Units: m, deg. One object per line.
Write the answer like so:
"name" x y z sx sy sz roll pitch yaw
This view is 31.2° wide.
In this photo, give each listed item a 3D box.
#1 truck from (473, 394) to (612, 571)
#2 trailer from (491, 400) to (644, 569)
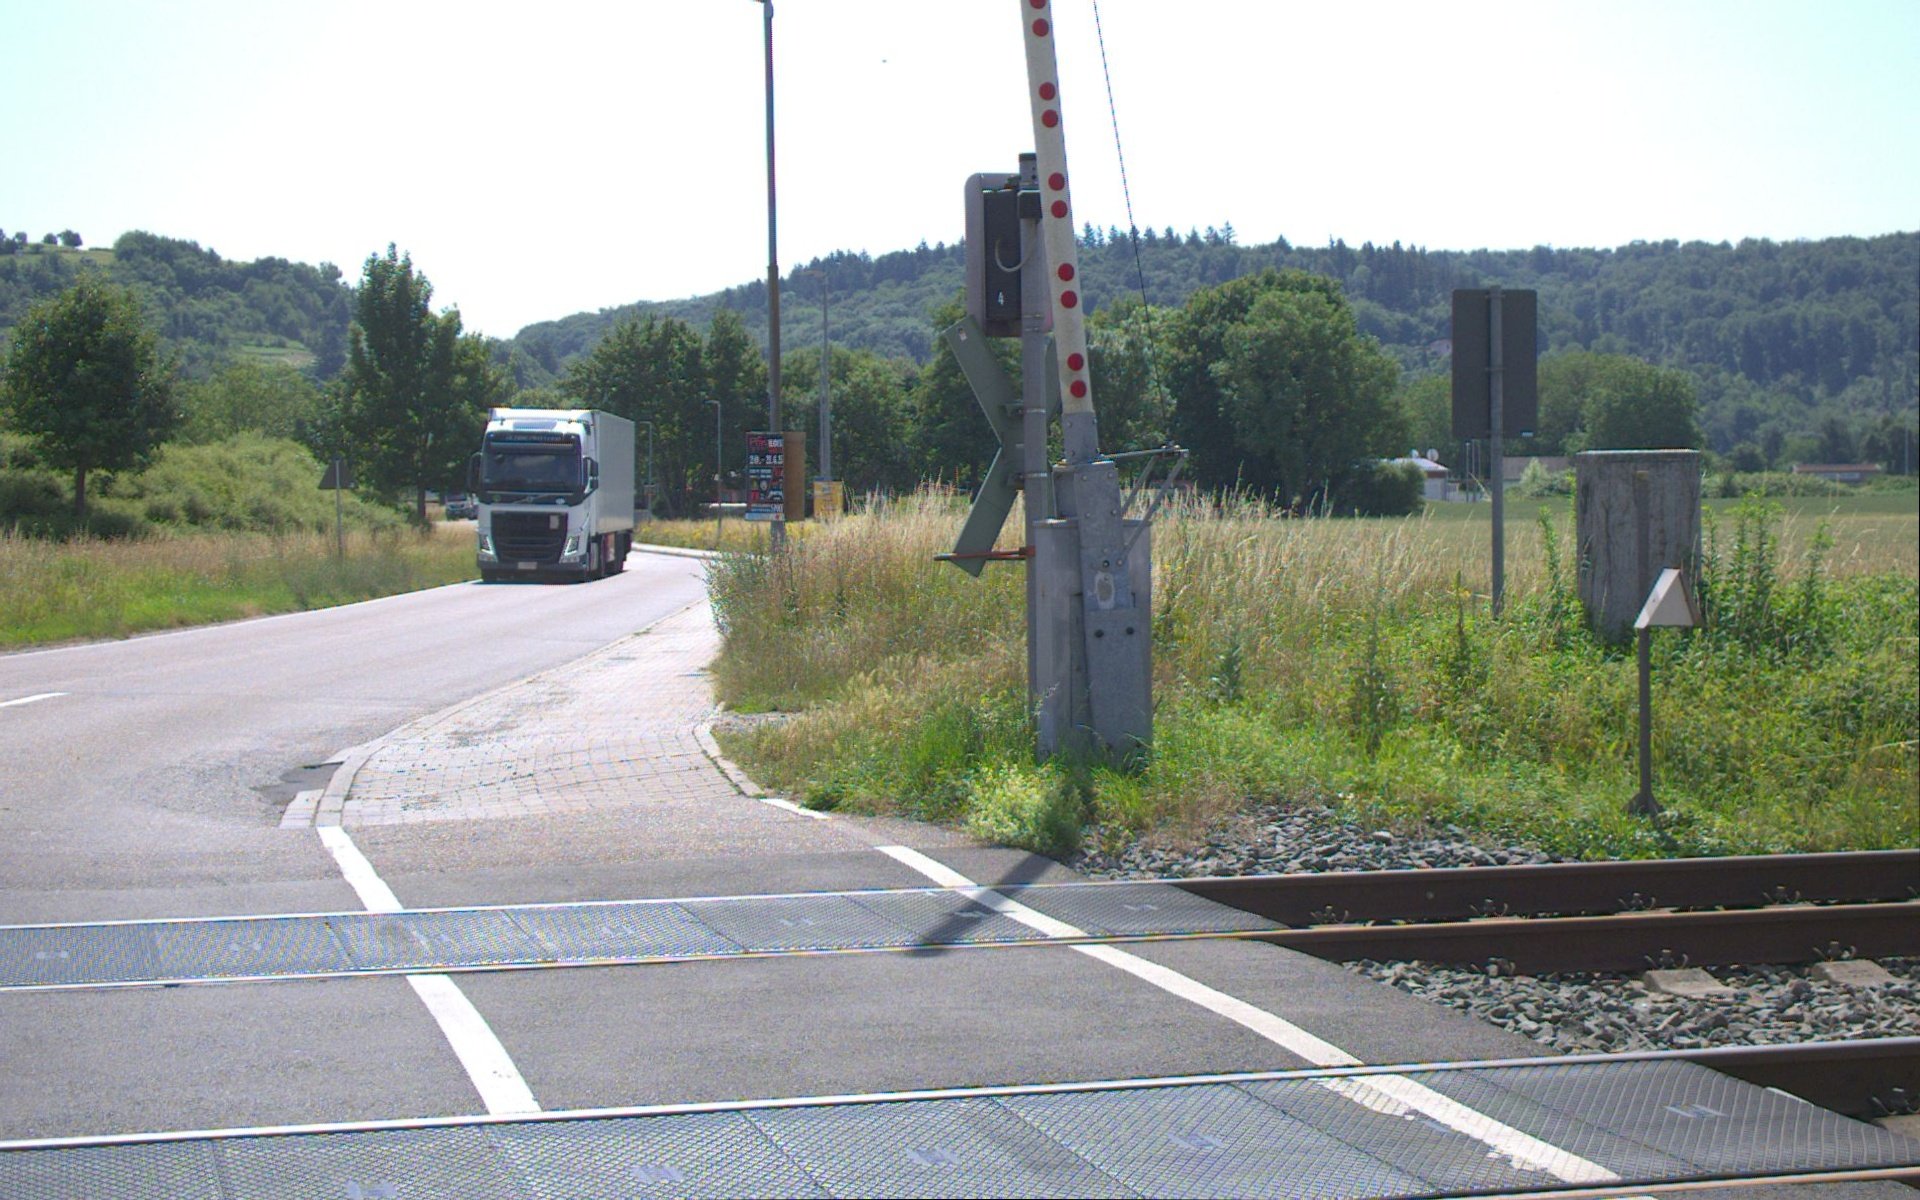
"truck" -9.664 -2.712 80.045 2.571 3.934 6.040 -1 2 -1
"trailer" -9.798 -2.902 87.133 2.583 3.934 13.060 -1 2 -1
